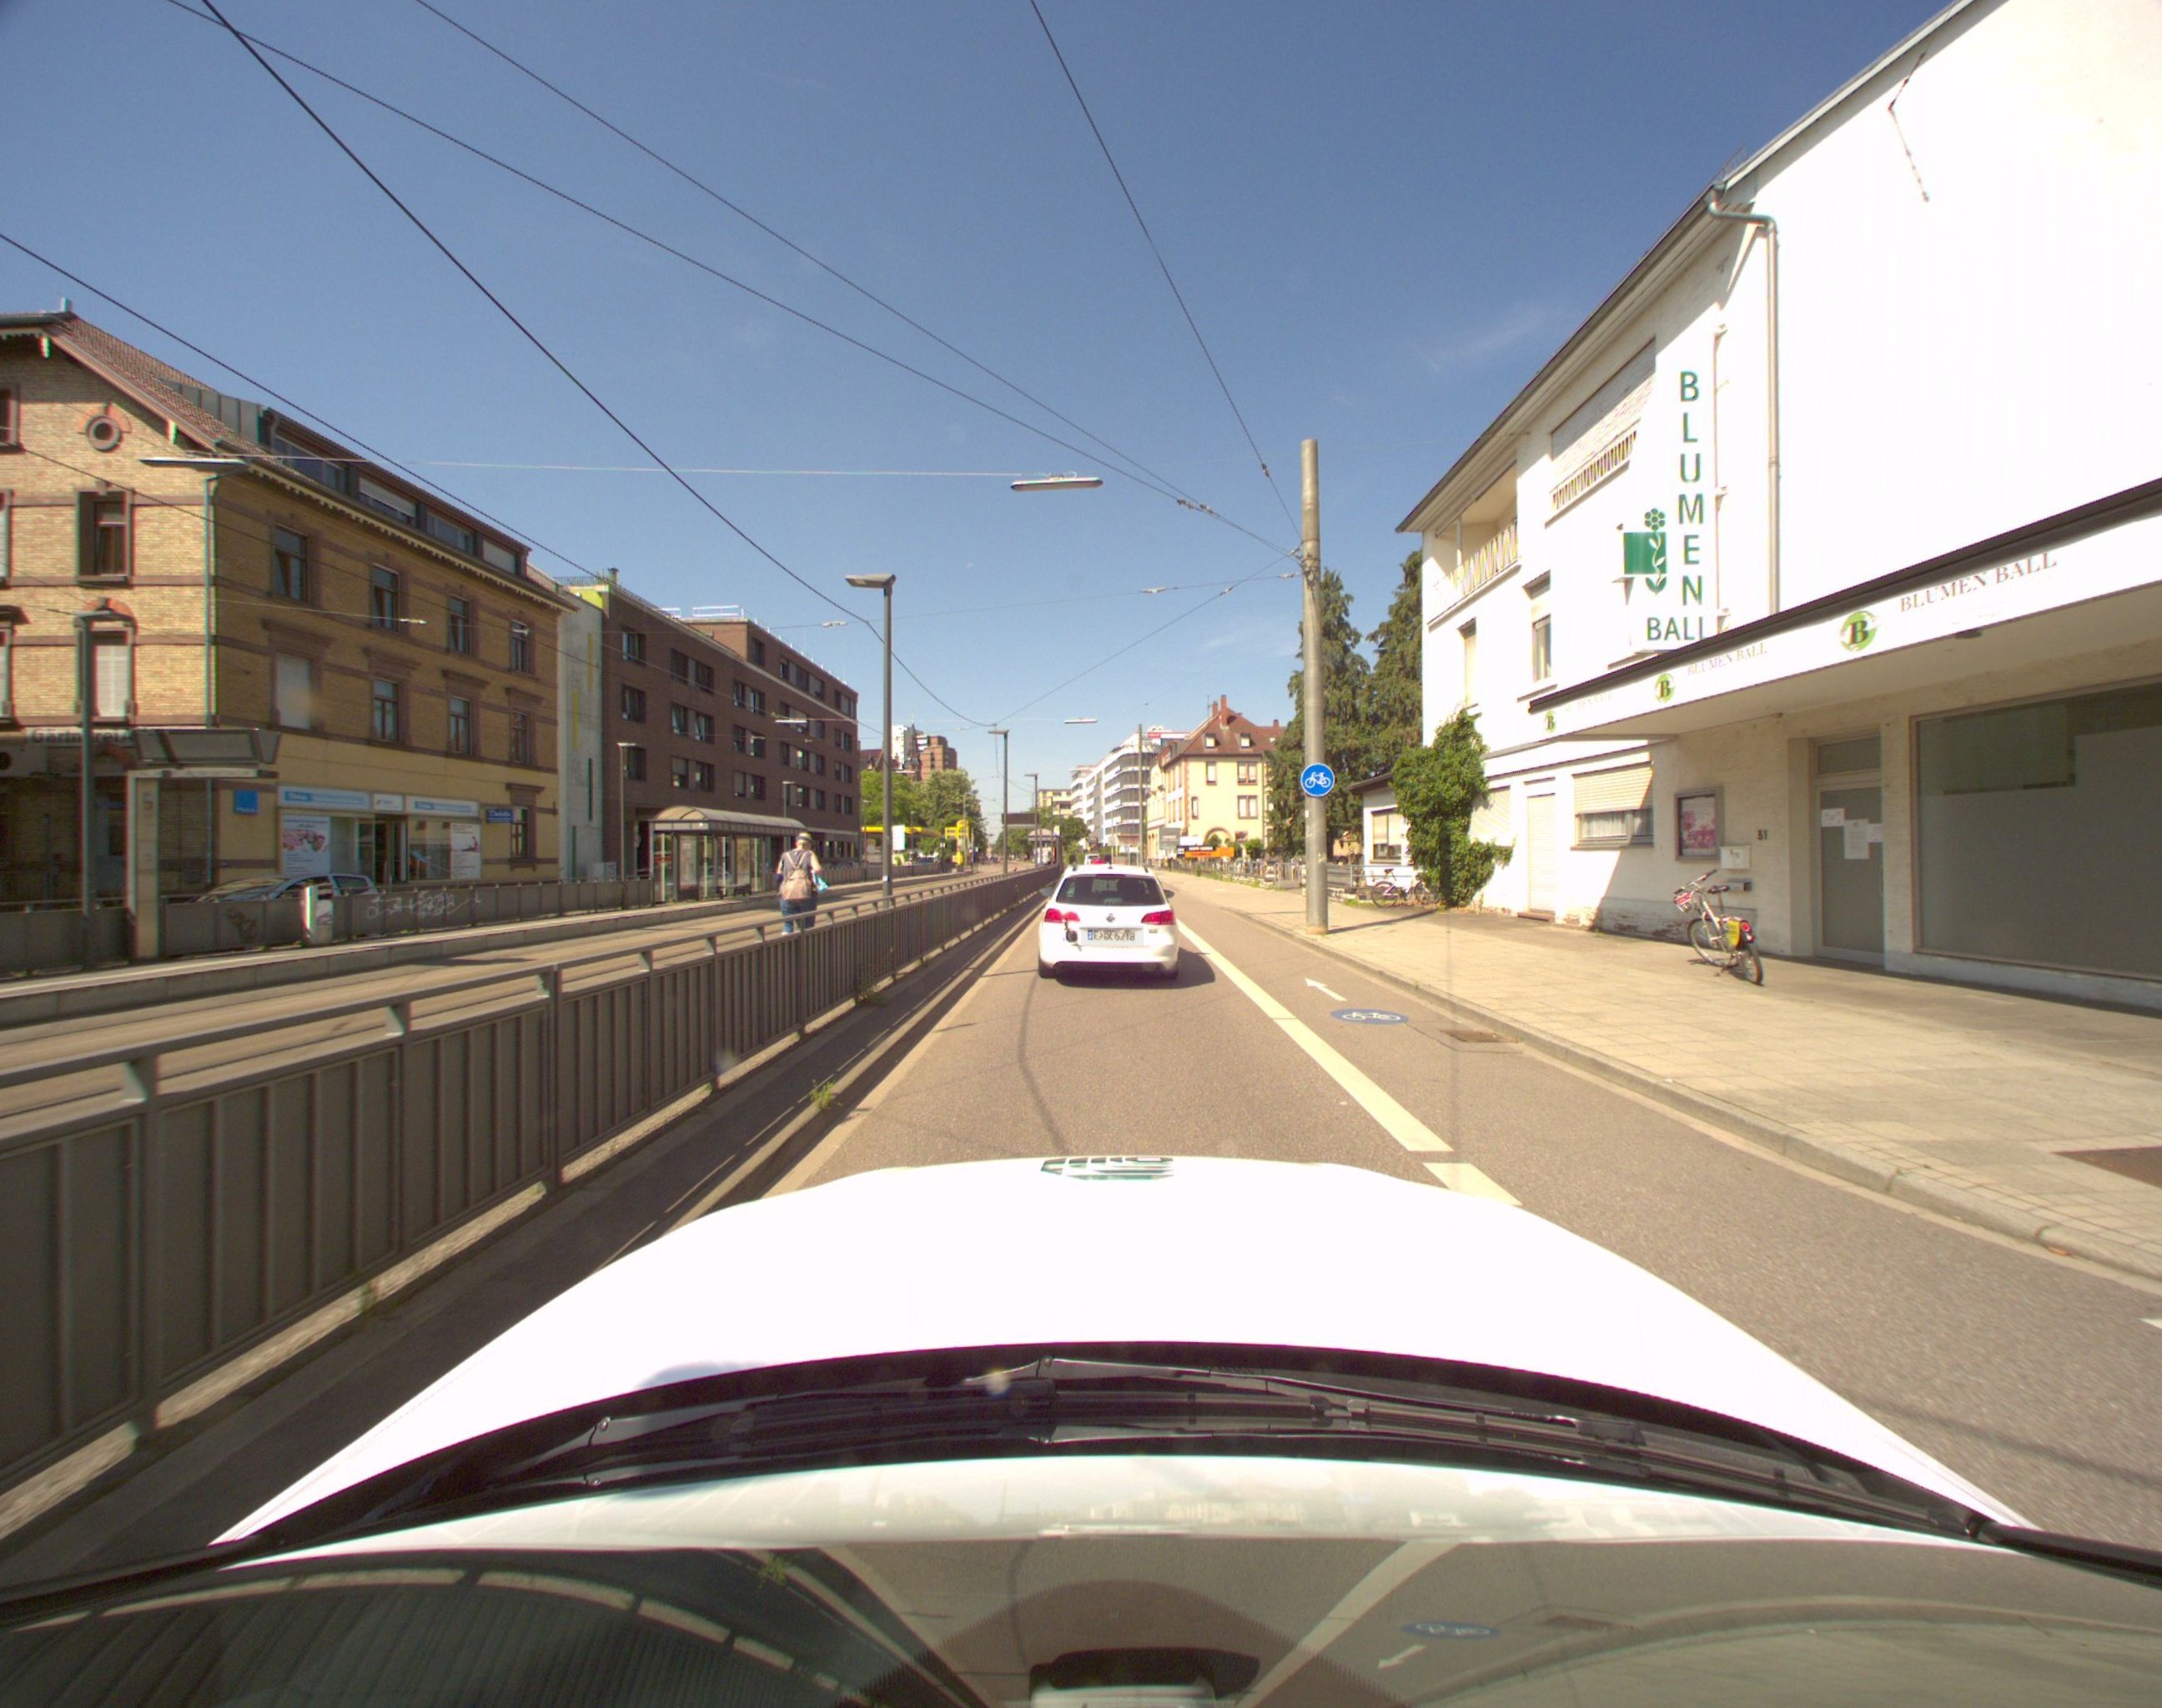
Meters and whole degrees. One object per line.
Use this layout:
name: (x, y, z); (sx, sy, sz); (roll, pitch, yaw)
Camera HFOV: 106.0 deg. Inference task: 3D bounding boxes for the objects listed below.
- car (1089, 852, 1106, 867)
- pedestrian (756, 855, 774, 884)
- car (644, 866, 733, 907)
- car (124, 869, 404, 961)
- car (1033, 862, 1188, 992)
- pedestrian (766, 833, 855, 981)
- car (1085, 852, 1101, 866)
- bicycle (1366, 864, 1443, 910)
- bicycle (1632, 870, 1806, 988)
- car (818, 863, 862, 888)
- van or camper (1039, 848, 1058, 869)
car: (2.264, 0.692, 111.217); (1.989, 2.013, 3.995); (-1, 0, -3)
pedestrian: (-19.861, 0.985, 51.173); (0.722, 1.791, 0.964); (-2, 0, 1)
car: (-15.392, 1.236, 32.161); (1.567, 1.459, 3.934); (-1, 0, 0)
car: (-15.329, 1.058, 15.593); (1.567, 1.459, 3.737); (-1, 0, 0)
car: (0.395, 0.856, 11.278); (1.746, 1.418, 3.854); (2, 0, 1)
pedestrian: (-3.442, 0.651, 10.441); (0.823, 1.809, 0.834); (-1, 0, 2)
car: (1.729, 0.718, 116.647); (1.989, 2.013, 3.995); (-1, 0, -3)
bicycle: (8.099, 0.819, 20.437); (1.705, 1.130, 0.526); (-1, 0, 2)
bicycle: (7.185, 0.774, 9.327); (0.720, 1.139, 2.203); (-1, 0, 14)
car: (-14.814, 1.304, 50.164); (1.567, 1.459, 3.737); (-1, 0, 0)
van or camper: (-5.030, 0.685, 127.227); (2.936, 3.180, 6.608); (-1, 0, -2)
